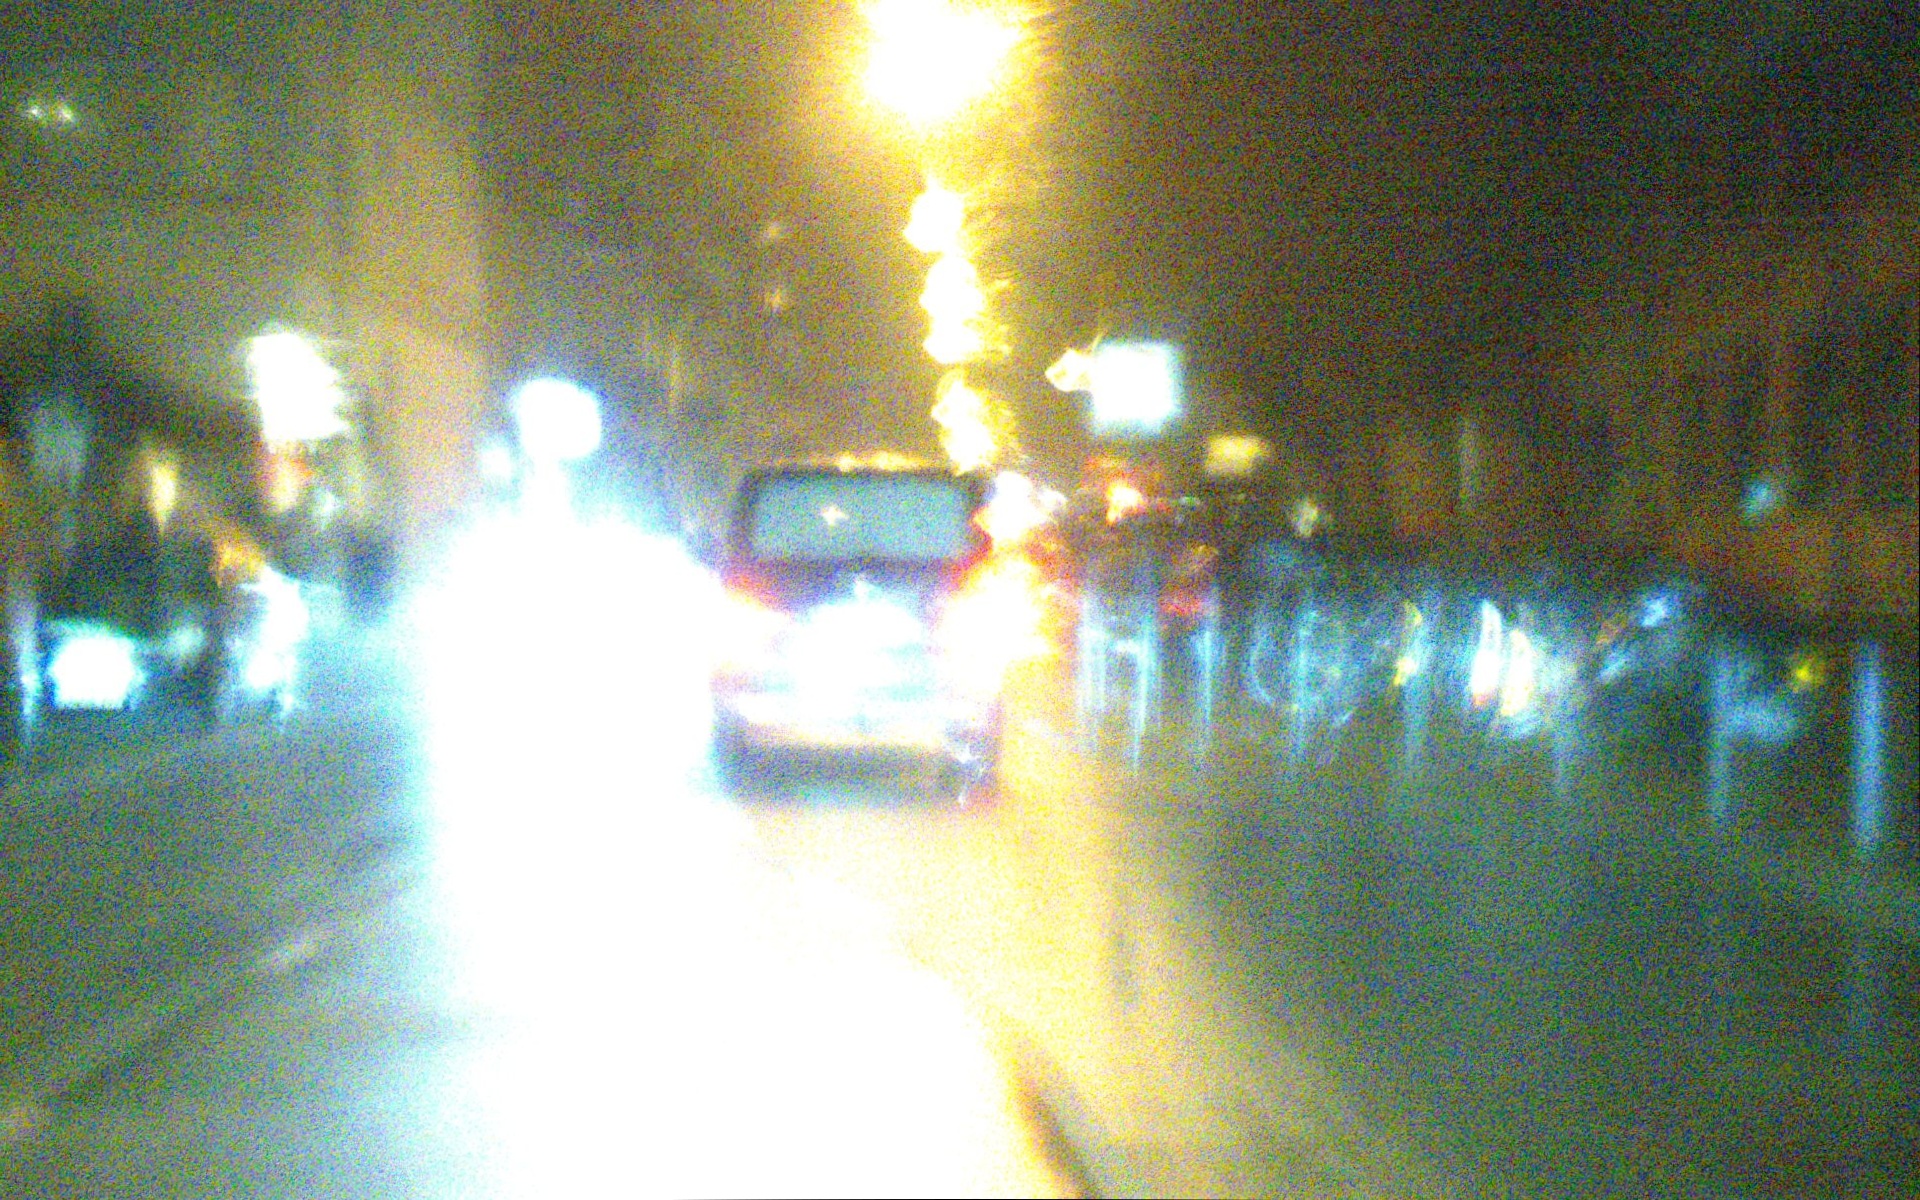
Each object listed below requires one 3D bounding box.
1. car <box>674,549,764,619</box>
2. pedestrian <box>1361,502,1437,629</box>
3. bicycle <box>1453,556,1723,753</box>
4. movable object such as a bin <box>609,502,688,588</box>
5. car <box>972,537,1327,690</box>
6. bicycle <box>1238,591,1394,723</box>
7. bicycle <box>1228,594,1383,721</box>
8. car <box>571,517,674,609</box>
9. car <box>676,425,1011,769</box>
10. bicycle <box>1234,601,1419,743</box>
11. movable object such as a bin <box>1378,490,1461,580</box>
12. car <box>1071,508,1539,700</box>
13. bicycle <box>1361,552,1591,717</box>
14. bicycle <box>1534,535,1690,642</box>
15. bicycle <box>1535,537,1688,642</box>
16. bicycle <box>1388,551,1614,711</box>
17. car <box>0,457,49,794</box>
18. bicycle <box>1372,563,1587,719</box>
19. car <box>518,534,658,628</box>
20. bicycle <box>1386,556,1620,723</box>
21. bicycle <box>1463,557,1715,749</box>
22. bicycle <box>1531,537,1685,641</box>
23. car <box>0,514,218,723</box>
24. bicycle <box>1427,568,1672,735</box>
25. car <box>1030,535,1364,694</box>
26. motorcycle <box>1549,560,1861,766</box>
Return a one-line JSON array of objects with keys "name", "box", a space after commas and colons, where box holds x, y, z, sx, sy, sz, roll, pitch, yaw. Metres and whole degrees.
[{"name": "car", "box": [-5.459, -0.394, 78.245, 1.686, 1.450, 4.316, 2, 1, 0]}, {"name": "pedestrian", "box": [6.570, -0.516, 51.512, 0.838, 1.829, 0.947, -4, 0, -3]}, {"name": "bicycle", "box": [4.051, 0.348, 22.238, 1.664, 1.230, 0.385, -1, 1, 3]}, {"name": "movable object such as a bin", "box": [-5.507, -0.971, 60.823, 1.208, 1.454, 1.107, 2, 1, 3]}, {"name": "car", "box": [2.120, 0.148, 38.597, 3.553, 1.605, 1.713, 1, 1, -21]}, {"name": "bicycle", "box": [2.661, 0.425, 25.723, 1.132, 0.971, 0.249, 0, 1, -2]}, {"name": "bicycle", "box": [2.612, 0.431, 26.017, 1.132, 0.944, 0.267, 0, 1, -2]}, {"name": "car", "box": [-6.537, -0.735, 66.916, 1.603, 1.700, 3.721, 1, 1, 0]}, {"name": "car", "box": [-0.690, -0.030, 22.771, 1.993, 2.043, 4.000, 1, 0, 0]}, {"name": "bicycle", "box": [2.498, 0.488, 23.466, 1.210, 0.944, 0.302, 0, 1, -3]}, {"name": "movable object such as a bin", "box": [7.805, -1.101, 58.433, 1.209, 1.446, 0.999, -4, 1, 1]}, {"name": "car", "box": [3.018, 0.014, 30.033, 3.699, 1.517, 1.657, -2, 1, -24]}, {"name": "bicycle", "box": [3.768, 0.247, 25.136, 1.595, 1.154, 0.418, -1, 1, -3]}, {"name": "bicycle", "box": [7.544, -0.138, 39.817, 1.684, 1.142, 0.429, -3, 1, -7]}, {"name": "bicycle", "box": [7.653, -0.129, 40.392, 1.684, 1.142, 0.429, -3, 1, -7]}, {"name": "bicycle", "box": [4.036, 0.226, 25.676, 1.595, 1.154, 0.418, -1, 1, -3]}, {"name": "car", "box": [-6.202, 0.167, 17.307, 1.866, 1.840, 4.827, 0, 1, 1]}, {"name": "bicycle", "box": [3.976, 0.314, 26.343, 1.596, 1.154, 0.539, -1, 1, 8]}, {"name": "car", "box": [-5.642, -0.320, 52.596, 1.654, 1.354, 4.222, 1, 1, 0]}, {"name": "bicycle", "box": [3.896, 0.280, 24.699, 1.595, 1.154, 0.418, -1, 1, -3]}, {"name": "bicycle", "box": [4.154, 0.348, 22.756, 1.580, 1.230, 0.418, -1, 1, 3]}, {"name": "bicycle", "box": [7.711, -0.135, 40.926, 1.684, 1.142, 0.486, -3, 1, -7]}, {"name": "car", "box": [-6.624, 0.097, 26.535, 1.546, 1.438, 3.564, 2, 1, -15]}, {"name": "bicycle", "box": [4.069, 0.349, 23.764, 1.595, 1.108, 0.418, -1, 1, -3]}, {"name": "car", "box": [2.423, 0.147, 35.309, 3.038, 1.546, 1.505, 1, 1, -21]}, {"name": "motorcycle", "box": [4.360, 0.358, 20.157, 1.632, 1.120, 0.653, -2, 1, -6]}]
